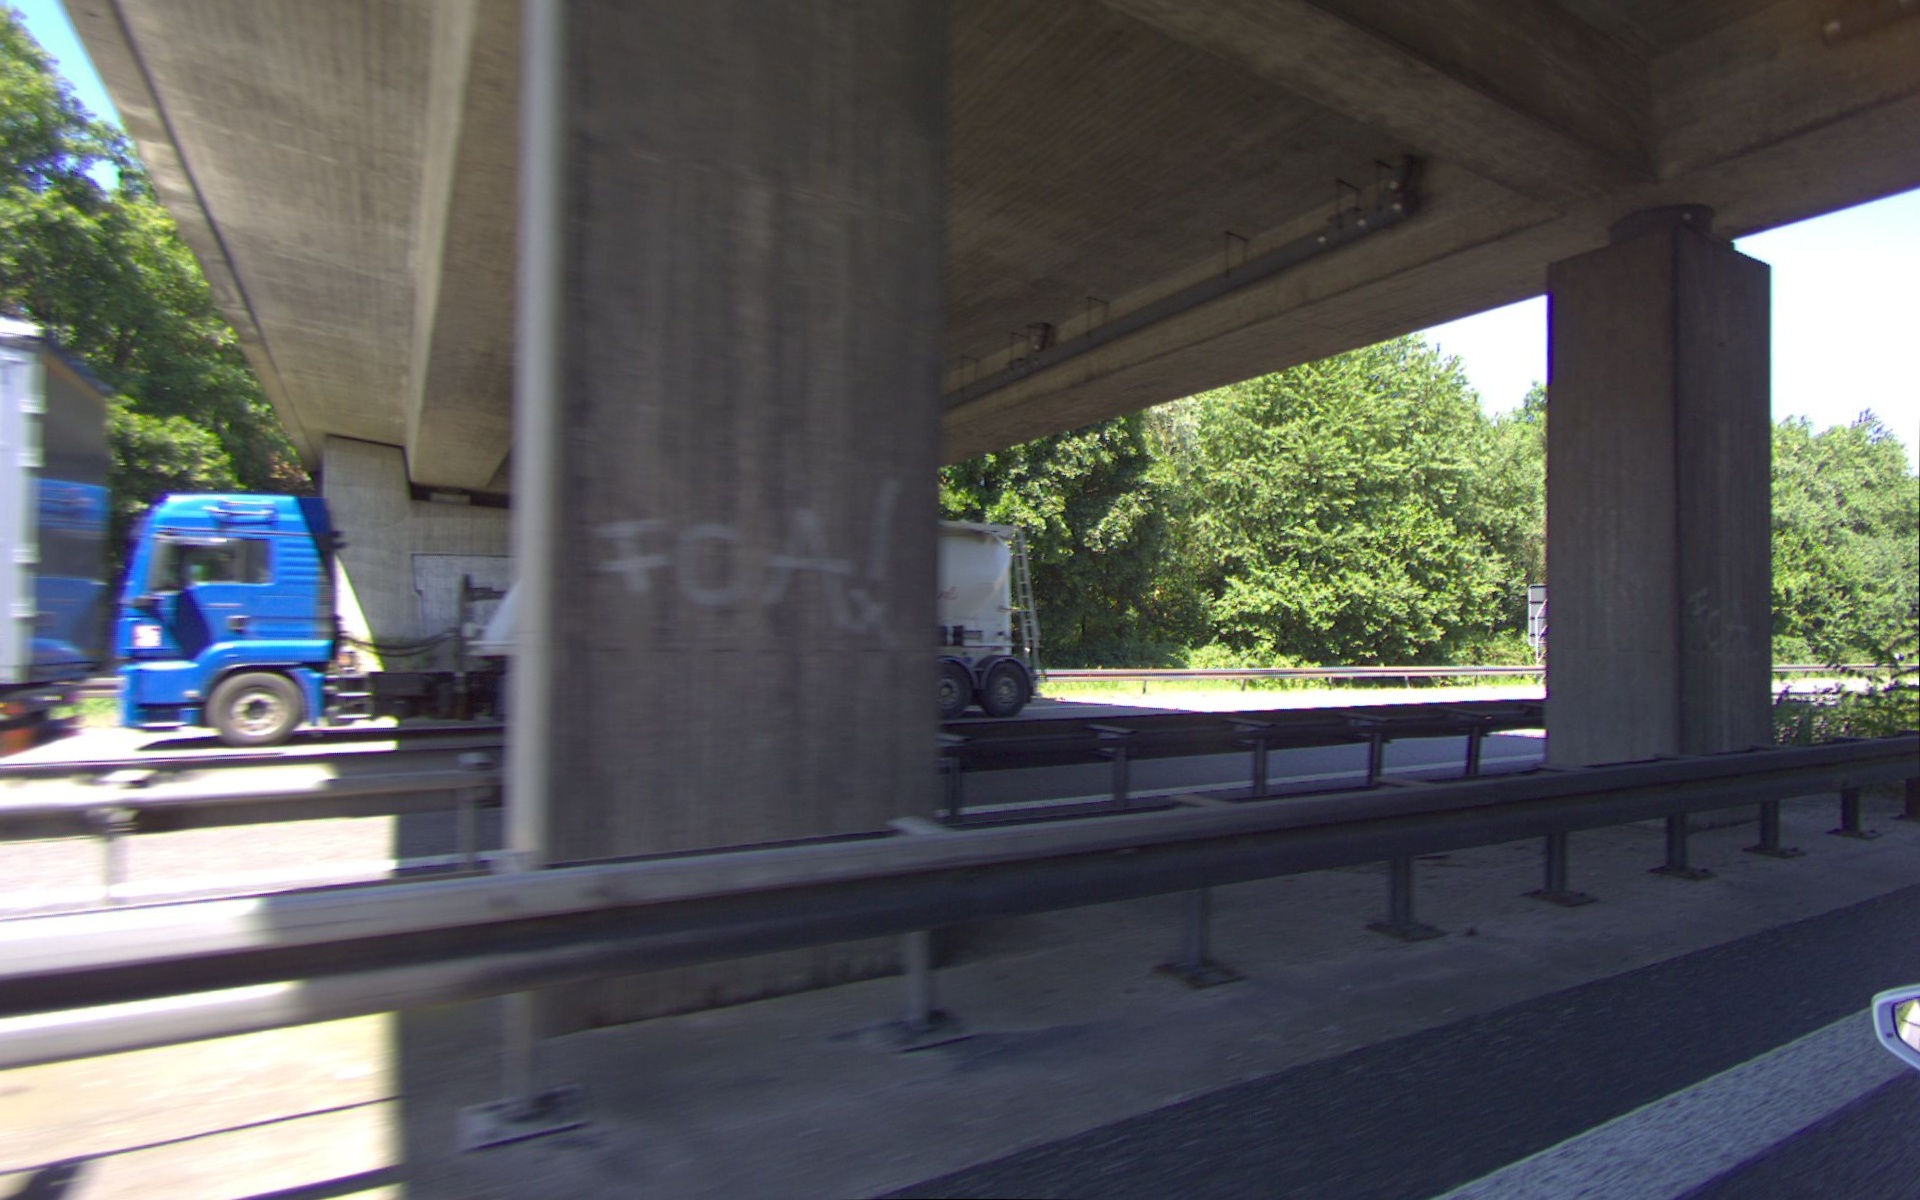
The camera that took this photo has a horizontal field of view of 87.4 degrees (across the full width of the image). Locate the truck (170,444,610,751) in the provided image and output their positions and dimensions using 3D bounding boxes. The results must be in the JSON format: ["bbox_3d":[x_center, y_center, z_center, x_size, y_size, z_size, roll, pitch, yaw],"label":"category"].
[{"bbox_3d":[-8.118,0.065,14.851,5.190,3.824,2.349,1,-3,-30],"label":"truck"}]

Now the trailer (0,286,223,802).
[{"bbox_3d":[-13.569,-0.549,6.630,13.673,4.279,2.816,2,-3,-30],"label":"trailer"}]

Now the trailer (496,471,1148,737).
[{"bbox_3d":[-1.880,0.234,18.526,11.933,3.844,2.348,2,-3,-30],"label":"trailer"}]
